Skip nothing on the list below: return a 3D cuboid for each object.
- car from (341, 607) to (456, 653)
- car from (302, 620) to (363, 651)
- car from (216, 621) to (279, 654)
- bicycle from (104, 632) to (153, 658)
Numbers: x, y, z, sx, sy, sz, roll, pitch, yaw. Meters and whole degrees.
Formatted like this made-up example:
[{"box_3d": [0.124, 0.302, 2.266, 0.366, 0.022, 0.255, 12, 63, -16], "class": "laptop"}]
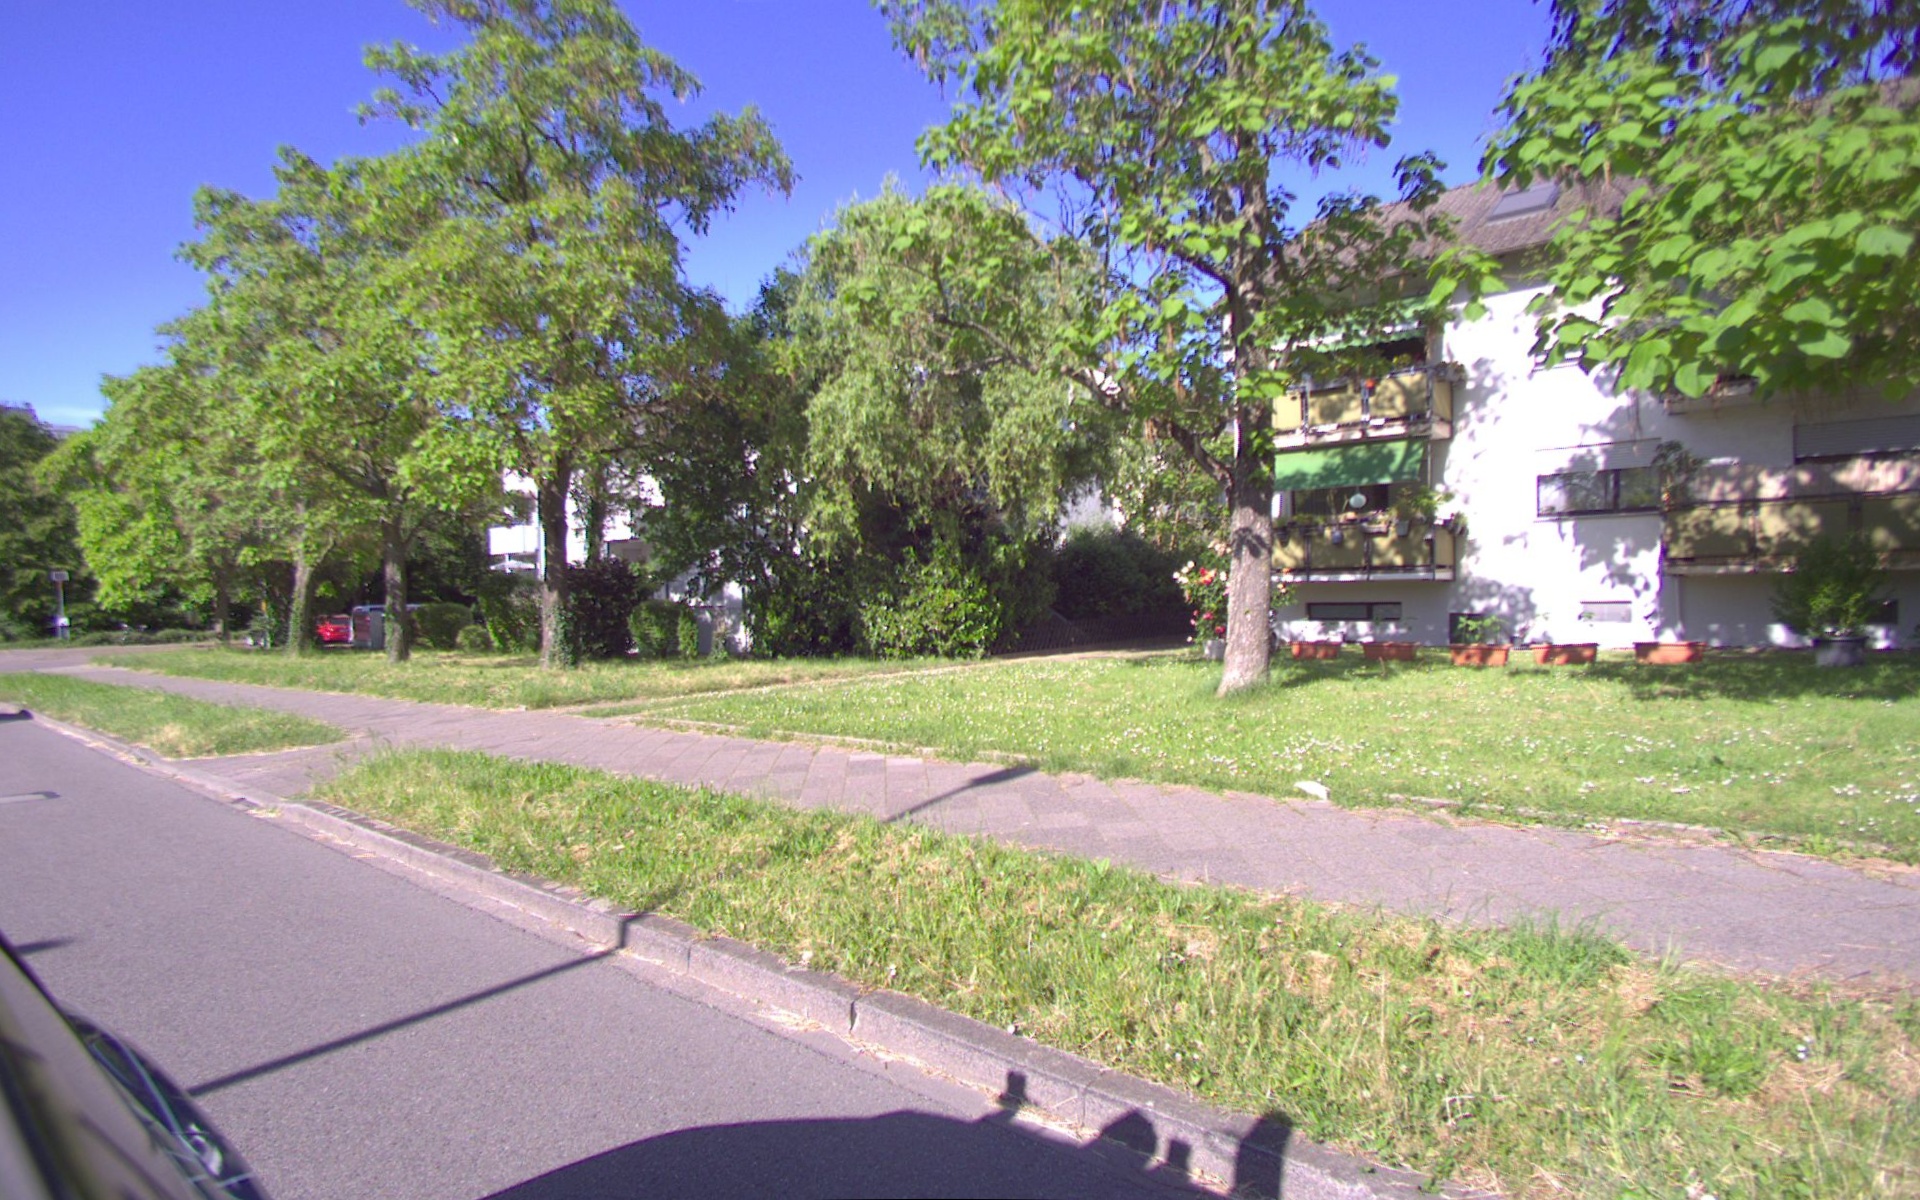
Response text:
[{"box_3d": [-26.838, 1.418, 48.467, 2.069, 1.984, 4.402, -3, -1, 43], "class": "car"}, {"box_3d": [-33.600, 1.877, 54.123, 3.883, 1.498, 1.653, 0, 1, 40], "class": "car"}, {"box_3d": [-36.013, 1.859, 51.124, 3.883, 1.498, 1.653, 0, 1, 40], "class": "car"}, {"box_3d": [-42.216, 2.290, 51.417, 1.875, 1.161, 0.762, -1, 3, -39], "class": "bicycle"}]
